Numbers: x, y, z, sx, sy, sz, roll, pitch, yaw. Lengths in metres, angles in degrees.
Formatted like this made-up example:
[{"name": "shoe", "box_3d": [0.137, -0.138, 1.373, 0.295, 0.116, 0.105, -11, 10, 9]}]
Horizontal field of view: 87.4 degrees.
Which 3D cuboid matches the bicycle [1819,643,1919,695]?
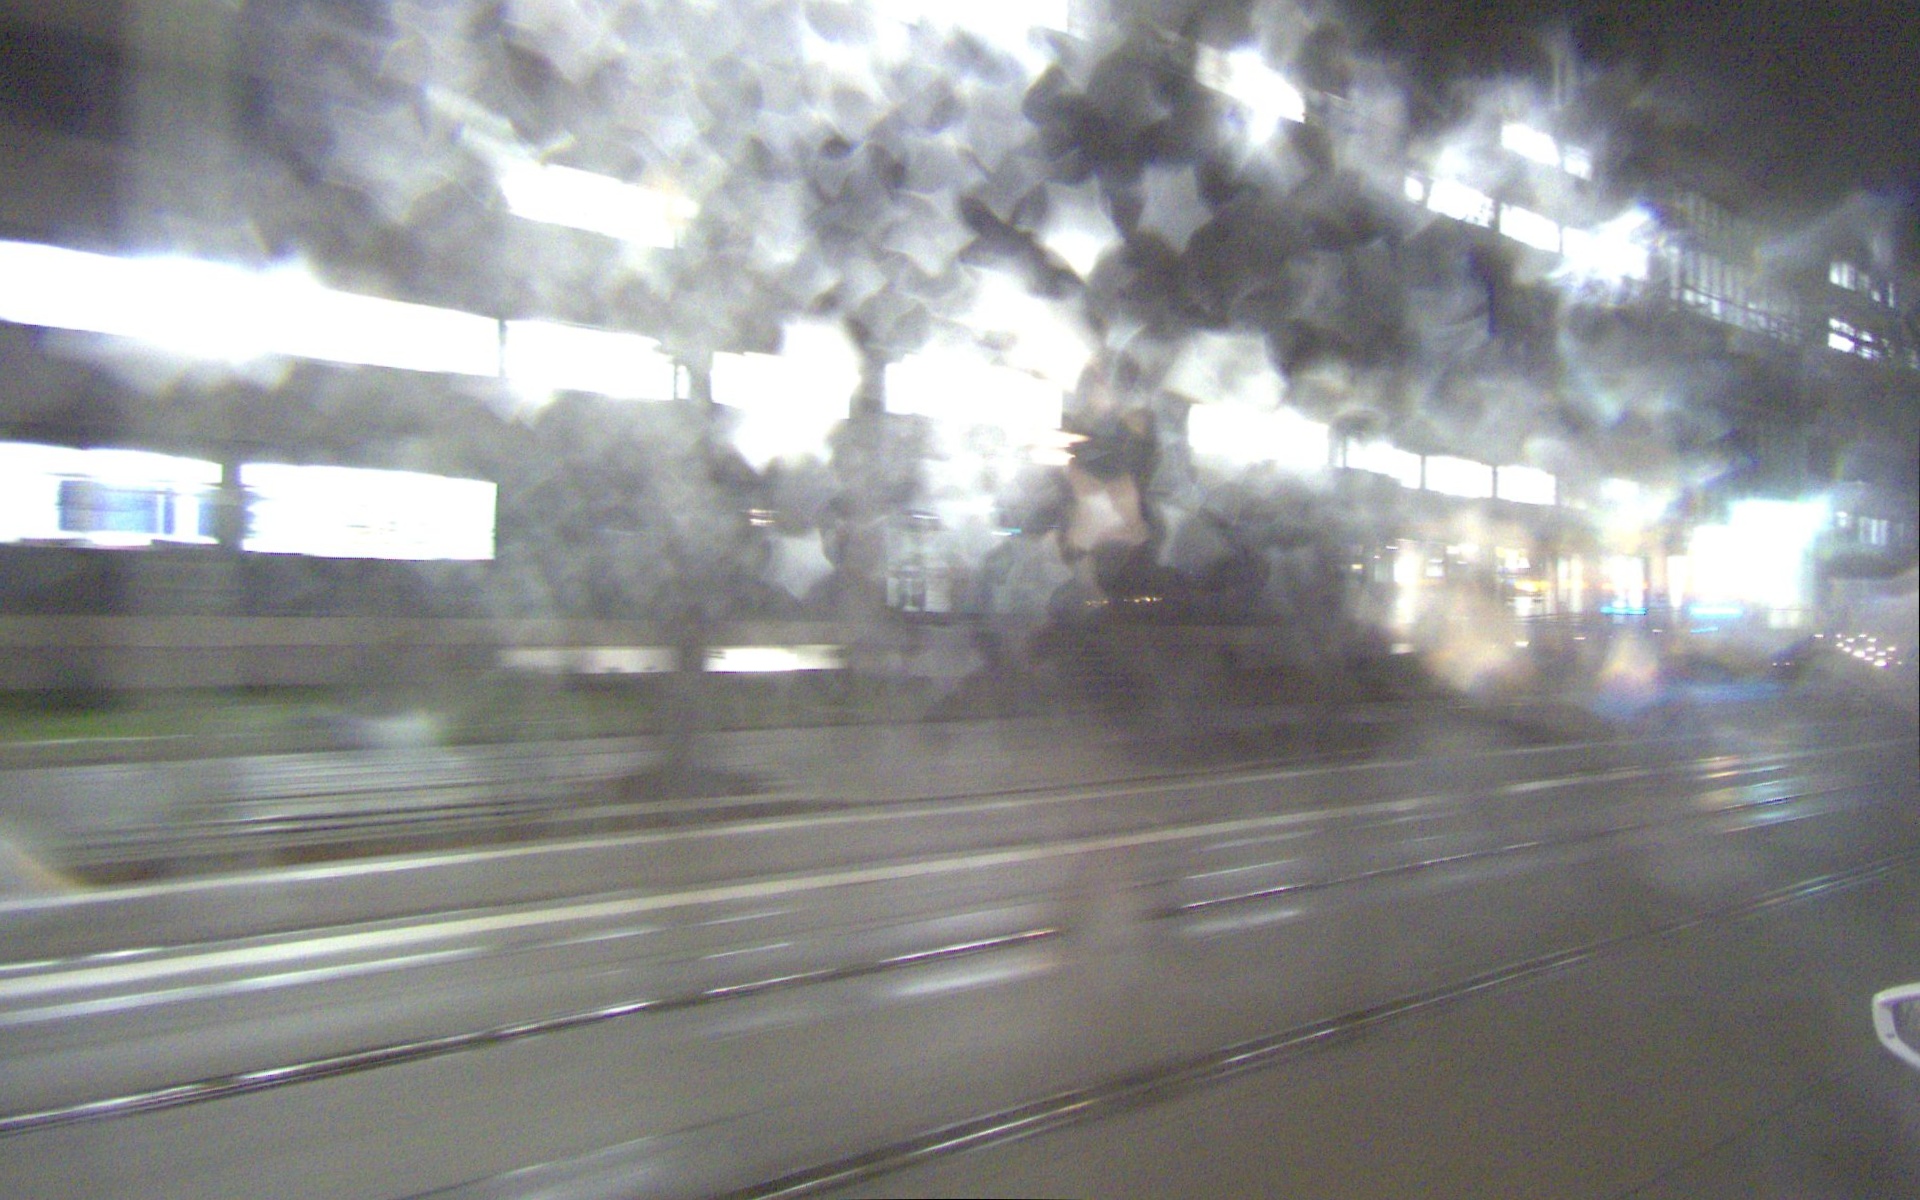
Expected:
[{"name": "bicycle", "box_3d": [20.724, 1.541, 22.731, 0.620, 1.092, 1.845, 1, -1, -29]}]
